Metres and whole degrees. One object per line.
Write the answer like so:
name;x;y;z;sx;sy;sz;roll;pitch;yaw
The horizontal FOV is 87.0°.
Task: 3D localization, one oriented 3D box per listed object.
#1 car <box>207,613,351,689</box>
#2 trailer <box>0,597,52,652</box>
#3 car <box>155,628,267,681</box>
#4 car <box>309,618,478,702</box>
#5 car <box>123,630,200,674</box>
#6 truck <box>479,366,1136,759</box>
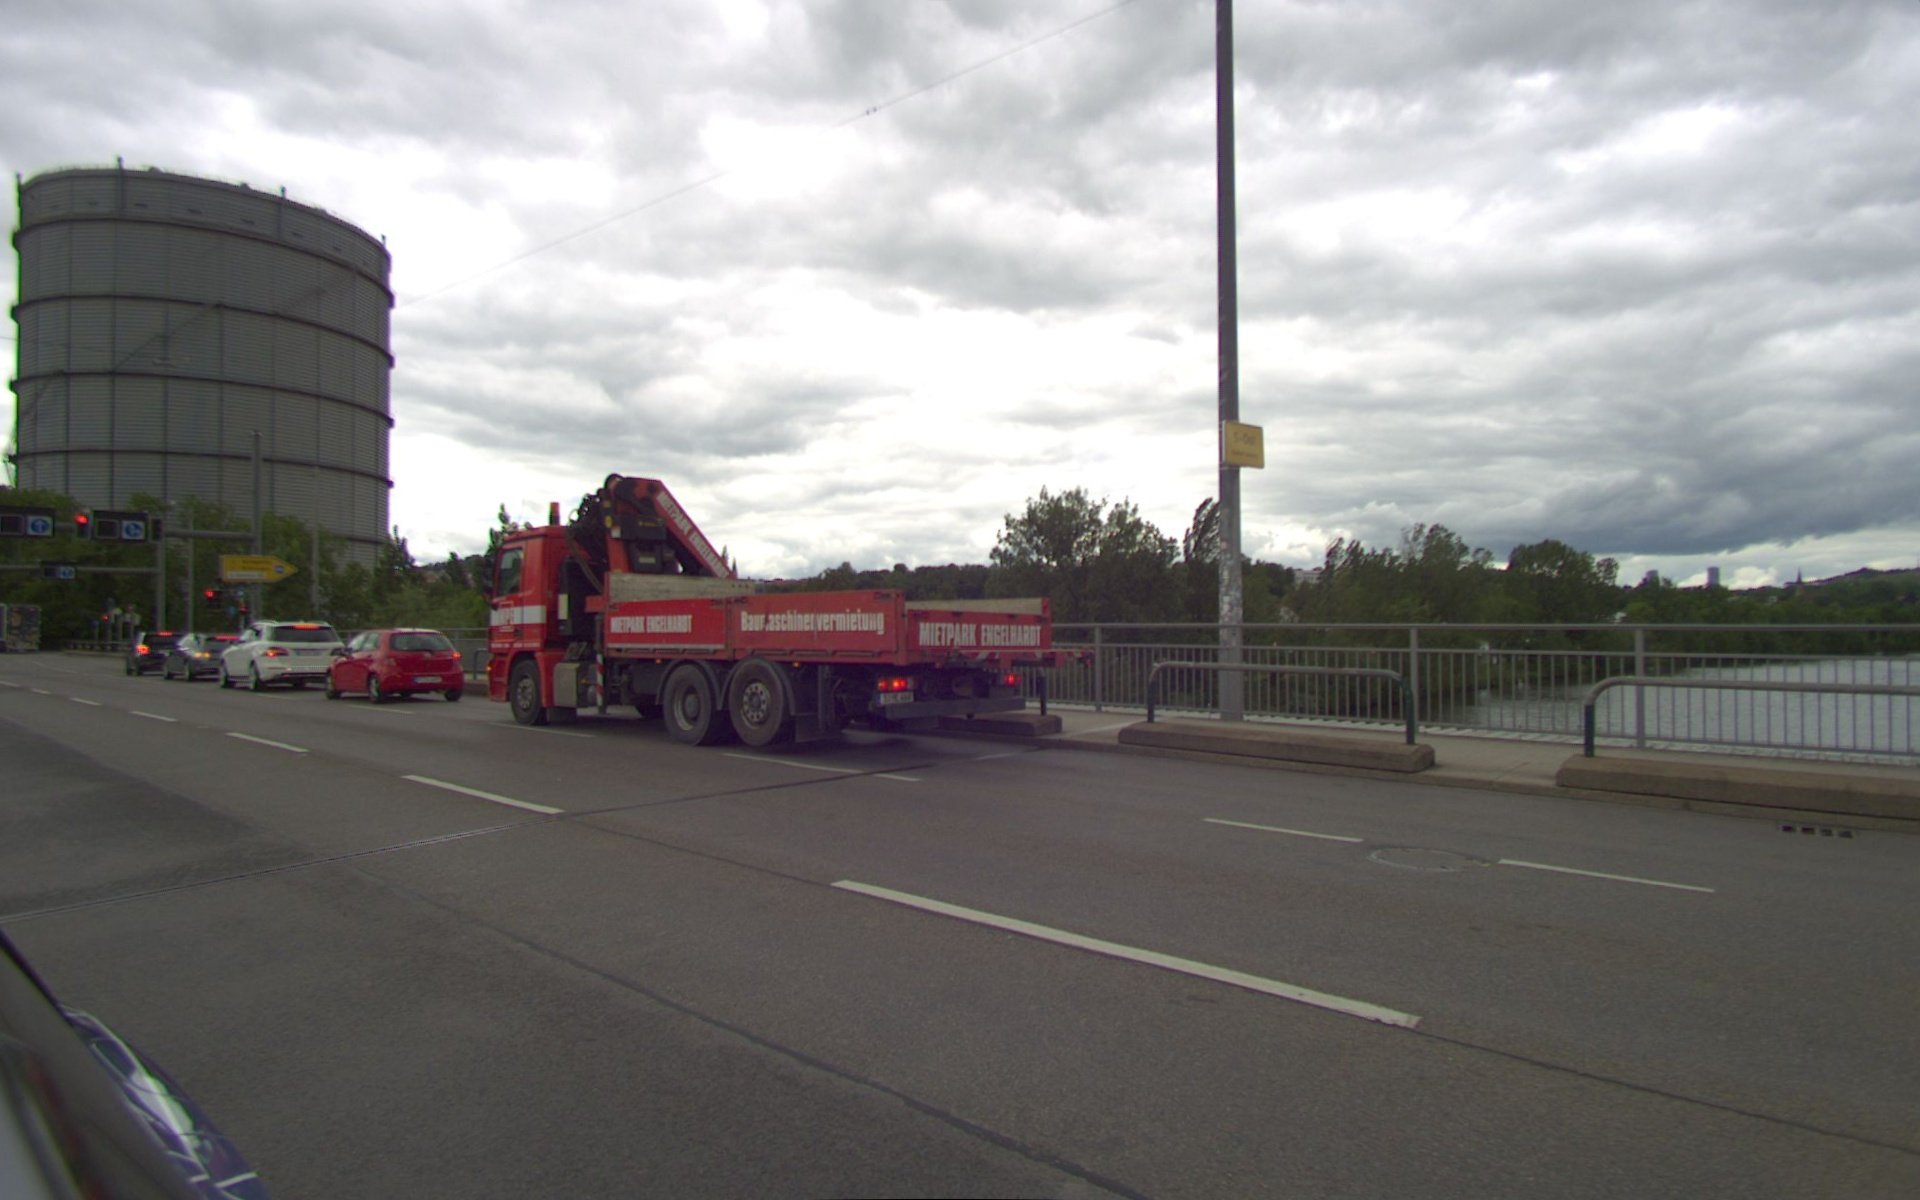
car;-17.606;1.288;26.087;4.799;1.774;1.860;-2;-3;41
trailer;-82.557;2.000;83.532;13.633;4.355;3.659;0;-4;11
car;-23.328;1.666;31.469;4.514;1.516;1.816;-2;-3;41
car;-12.075;1.240;21.496;4.013;1.615;1.860;-2;-3;41
car;-29.137;1.876;36.900;1.814;1.516;3.874;2;-3;-44
truck;-2.737;-0.179;13.640;9.976;3.593;2.974;-2;-3;41
